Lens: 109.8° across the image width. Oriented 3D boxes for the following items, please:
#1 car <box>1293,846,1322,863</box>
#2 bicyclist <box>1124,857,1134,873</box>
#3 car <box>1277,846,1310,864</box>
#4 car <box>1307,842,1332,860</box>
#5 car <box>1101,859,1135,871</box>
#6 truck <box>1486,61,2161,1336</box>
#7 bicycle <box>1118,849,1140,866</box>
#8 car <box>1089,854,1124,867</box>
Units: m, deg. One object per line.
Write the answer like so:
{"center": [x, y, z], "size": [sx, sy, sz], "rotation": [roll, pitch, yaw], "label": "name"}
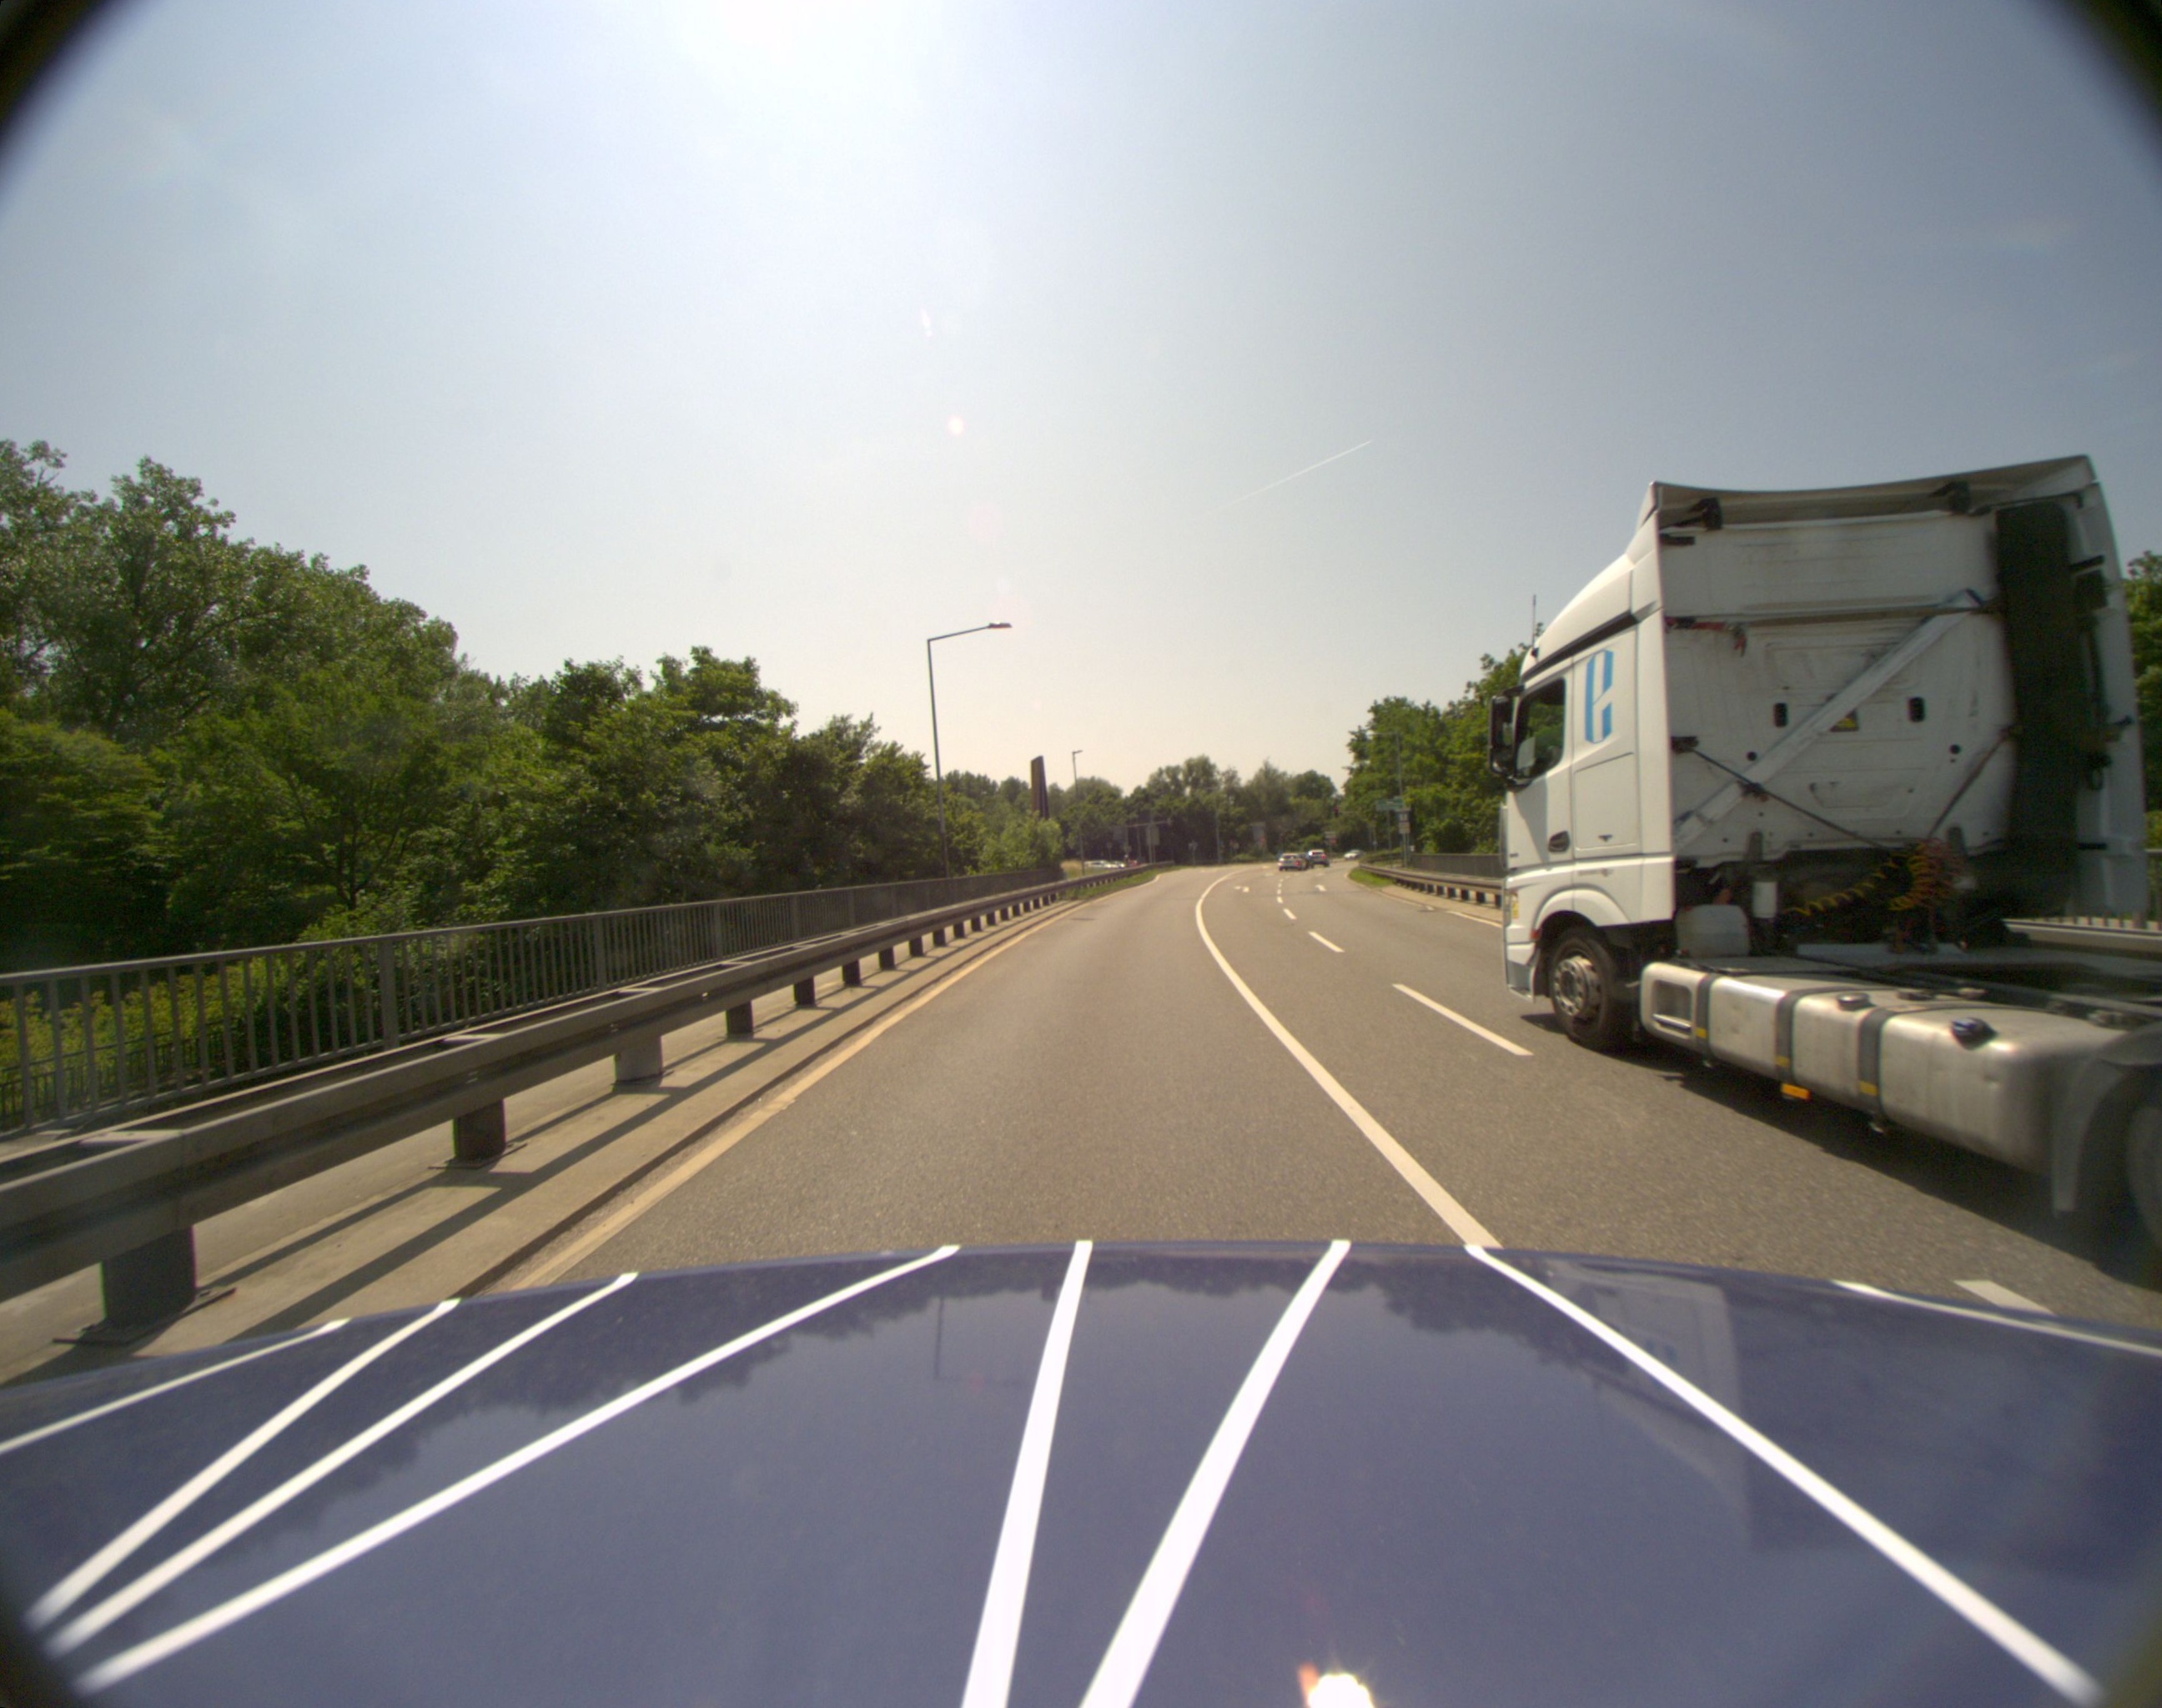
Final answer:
{"center": [20.241, 0.021, 67.861], "size": [1.829, 1.398, 4.554], "rotation": [-2, 0, 25], "label": "car"}
{"center": [4.809, 1.082, 75.820], "size": [0.672, 1.589, 0.690], "rotation": [-3, 1, -41], "label": "bicyclist"}
{"center": [17.484, 0.039, 62.322], "size": [1.829, 1.398, 4.895], "rotation": [-1, 1, 25], "label": "car"}
{"center": [23.310, -0.324, 74.193], "size": [1.829, 1.629, 4.585], "rotation": [-1, 1, 23], "label": "car"}
{"center": [4.858, 1.424, 100.039], "size": [1.871, 1.415, 4.175], "rotation": [-3, 0, -45], "label": "car"}
{"center": [4.822, -0.488, 3.690], "size": [2.712, 3.968, 6.187], "rotation": [-1, 0, 4], "label": "truck"}
{"center": [4.773, 0.384, 75.819], "size": [0.657, 1.565, 2.368], "rotation": [-3, 0, -40], "label": "bicycle"}
{"center": [3.232, 0.834, 97.087], "size": [1.871, 1.497, 4.286], "rotation": [-3, 0, -45], "label": "car"}
